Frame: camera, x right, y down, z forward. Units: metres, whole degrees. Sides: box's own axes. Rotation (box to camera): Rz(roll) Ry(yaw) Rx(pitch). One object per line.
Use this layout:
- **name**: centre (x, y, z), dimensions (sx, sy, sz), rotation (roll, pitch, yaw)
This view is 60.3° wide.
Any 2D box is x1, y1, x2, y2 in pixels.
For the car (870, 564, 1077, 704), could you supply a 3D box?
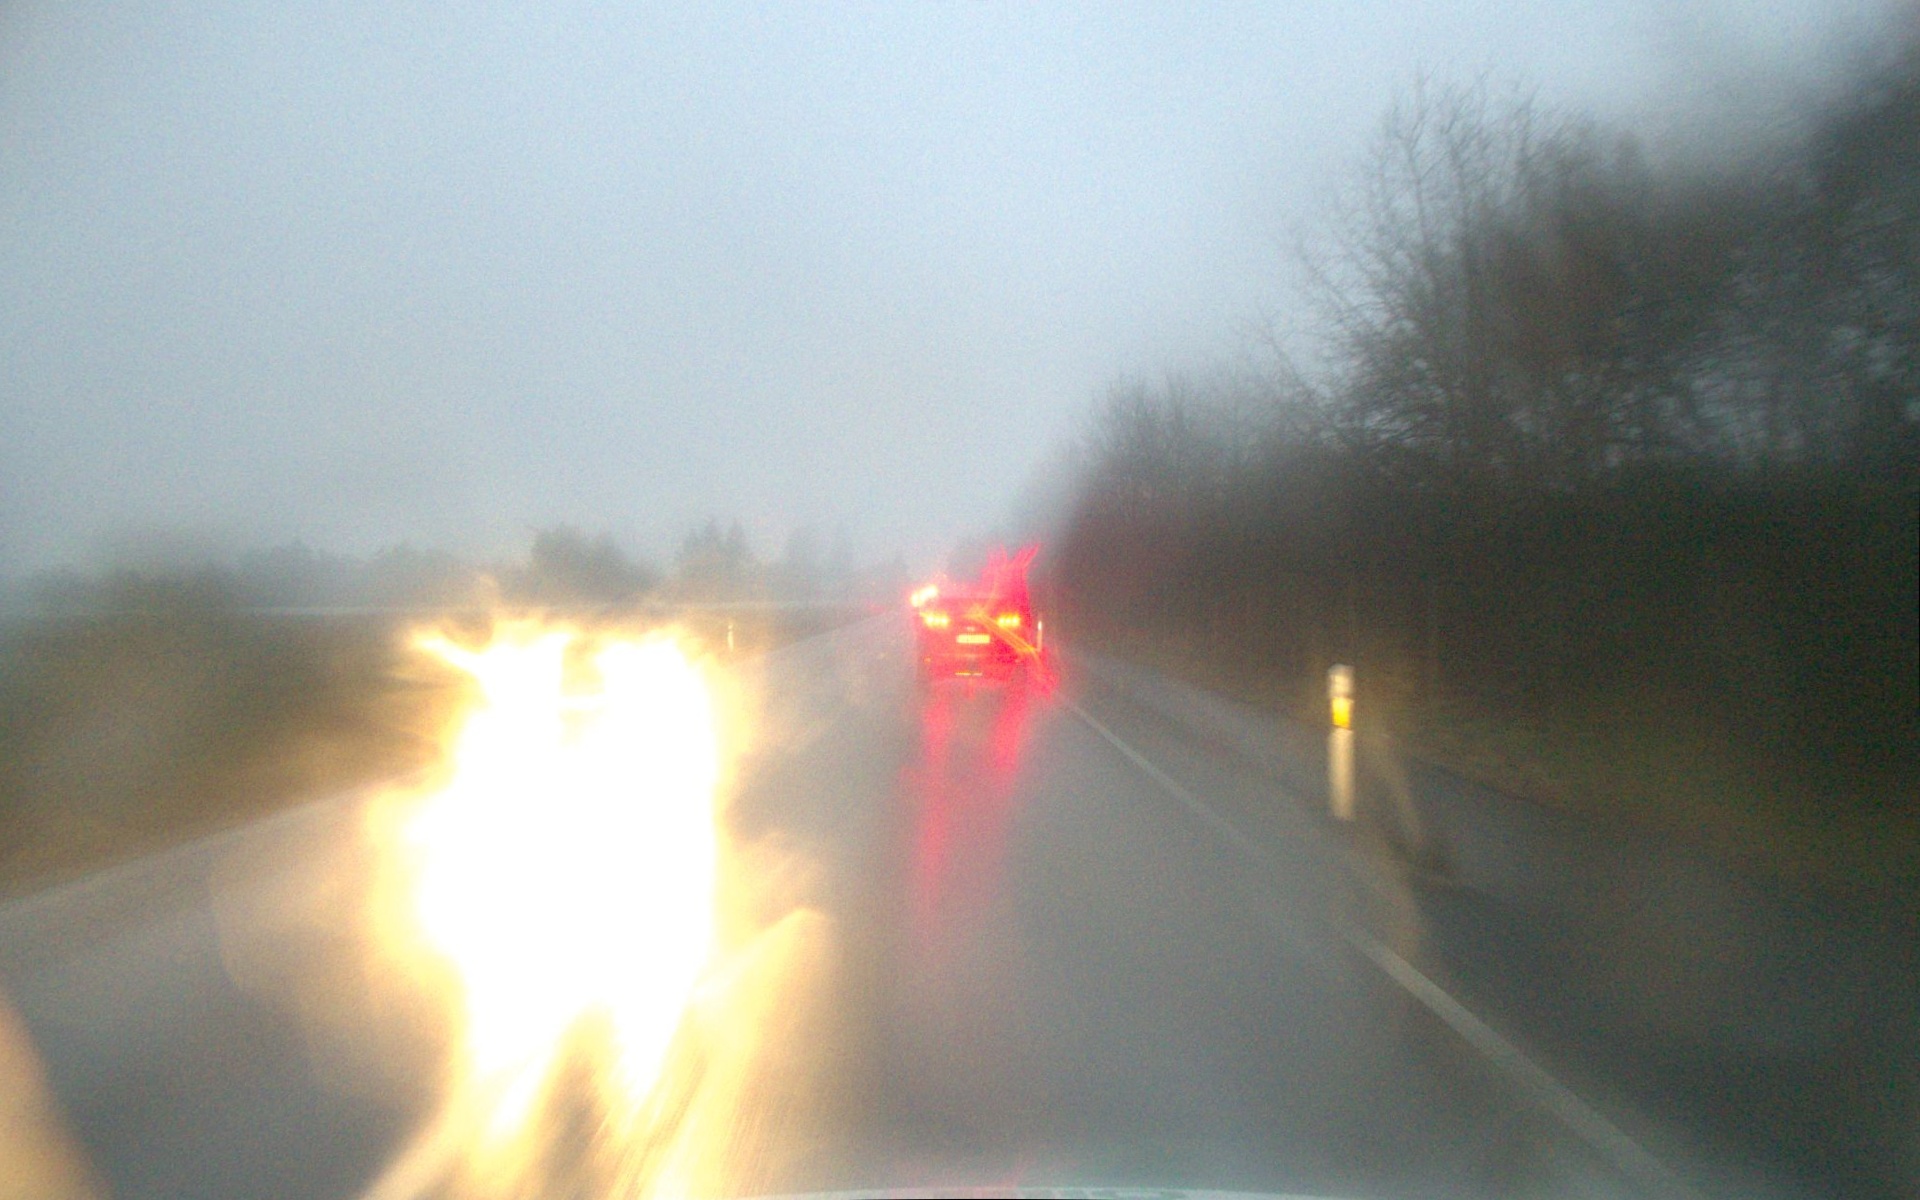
- **car**: centre (0.178, 0.495, 28.525), dimensions (3.100, 2.071, 6.851), rotation (-1, 0, -1)

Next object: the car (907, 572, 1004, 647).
- **car**: centre (-0.159, 0.246, 49.845), dimensions (2.700, 2.071, 6.590), rotation (-1, 0, -1)

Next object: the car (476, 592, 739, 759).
- **car**: centre (-3.747, 0.742, 18.407), dimensions (1.953, 1.489, 4.351), rotation (-4, 0, -1)
